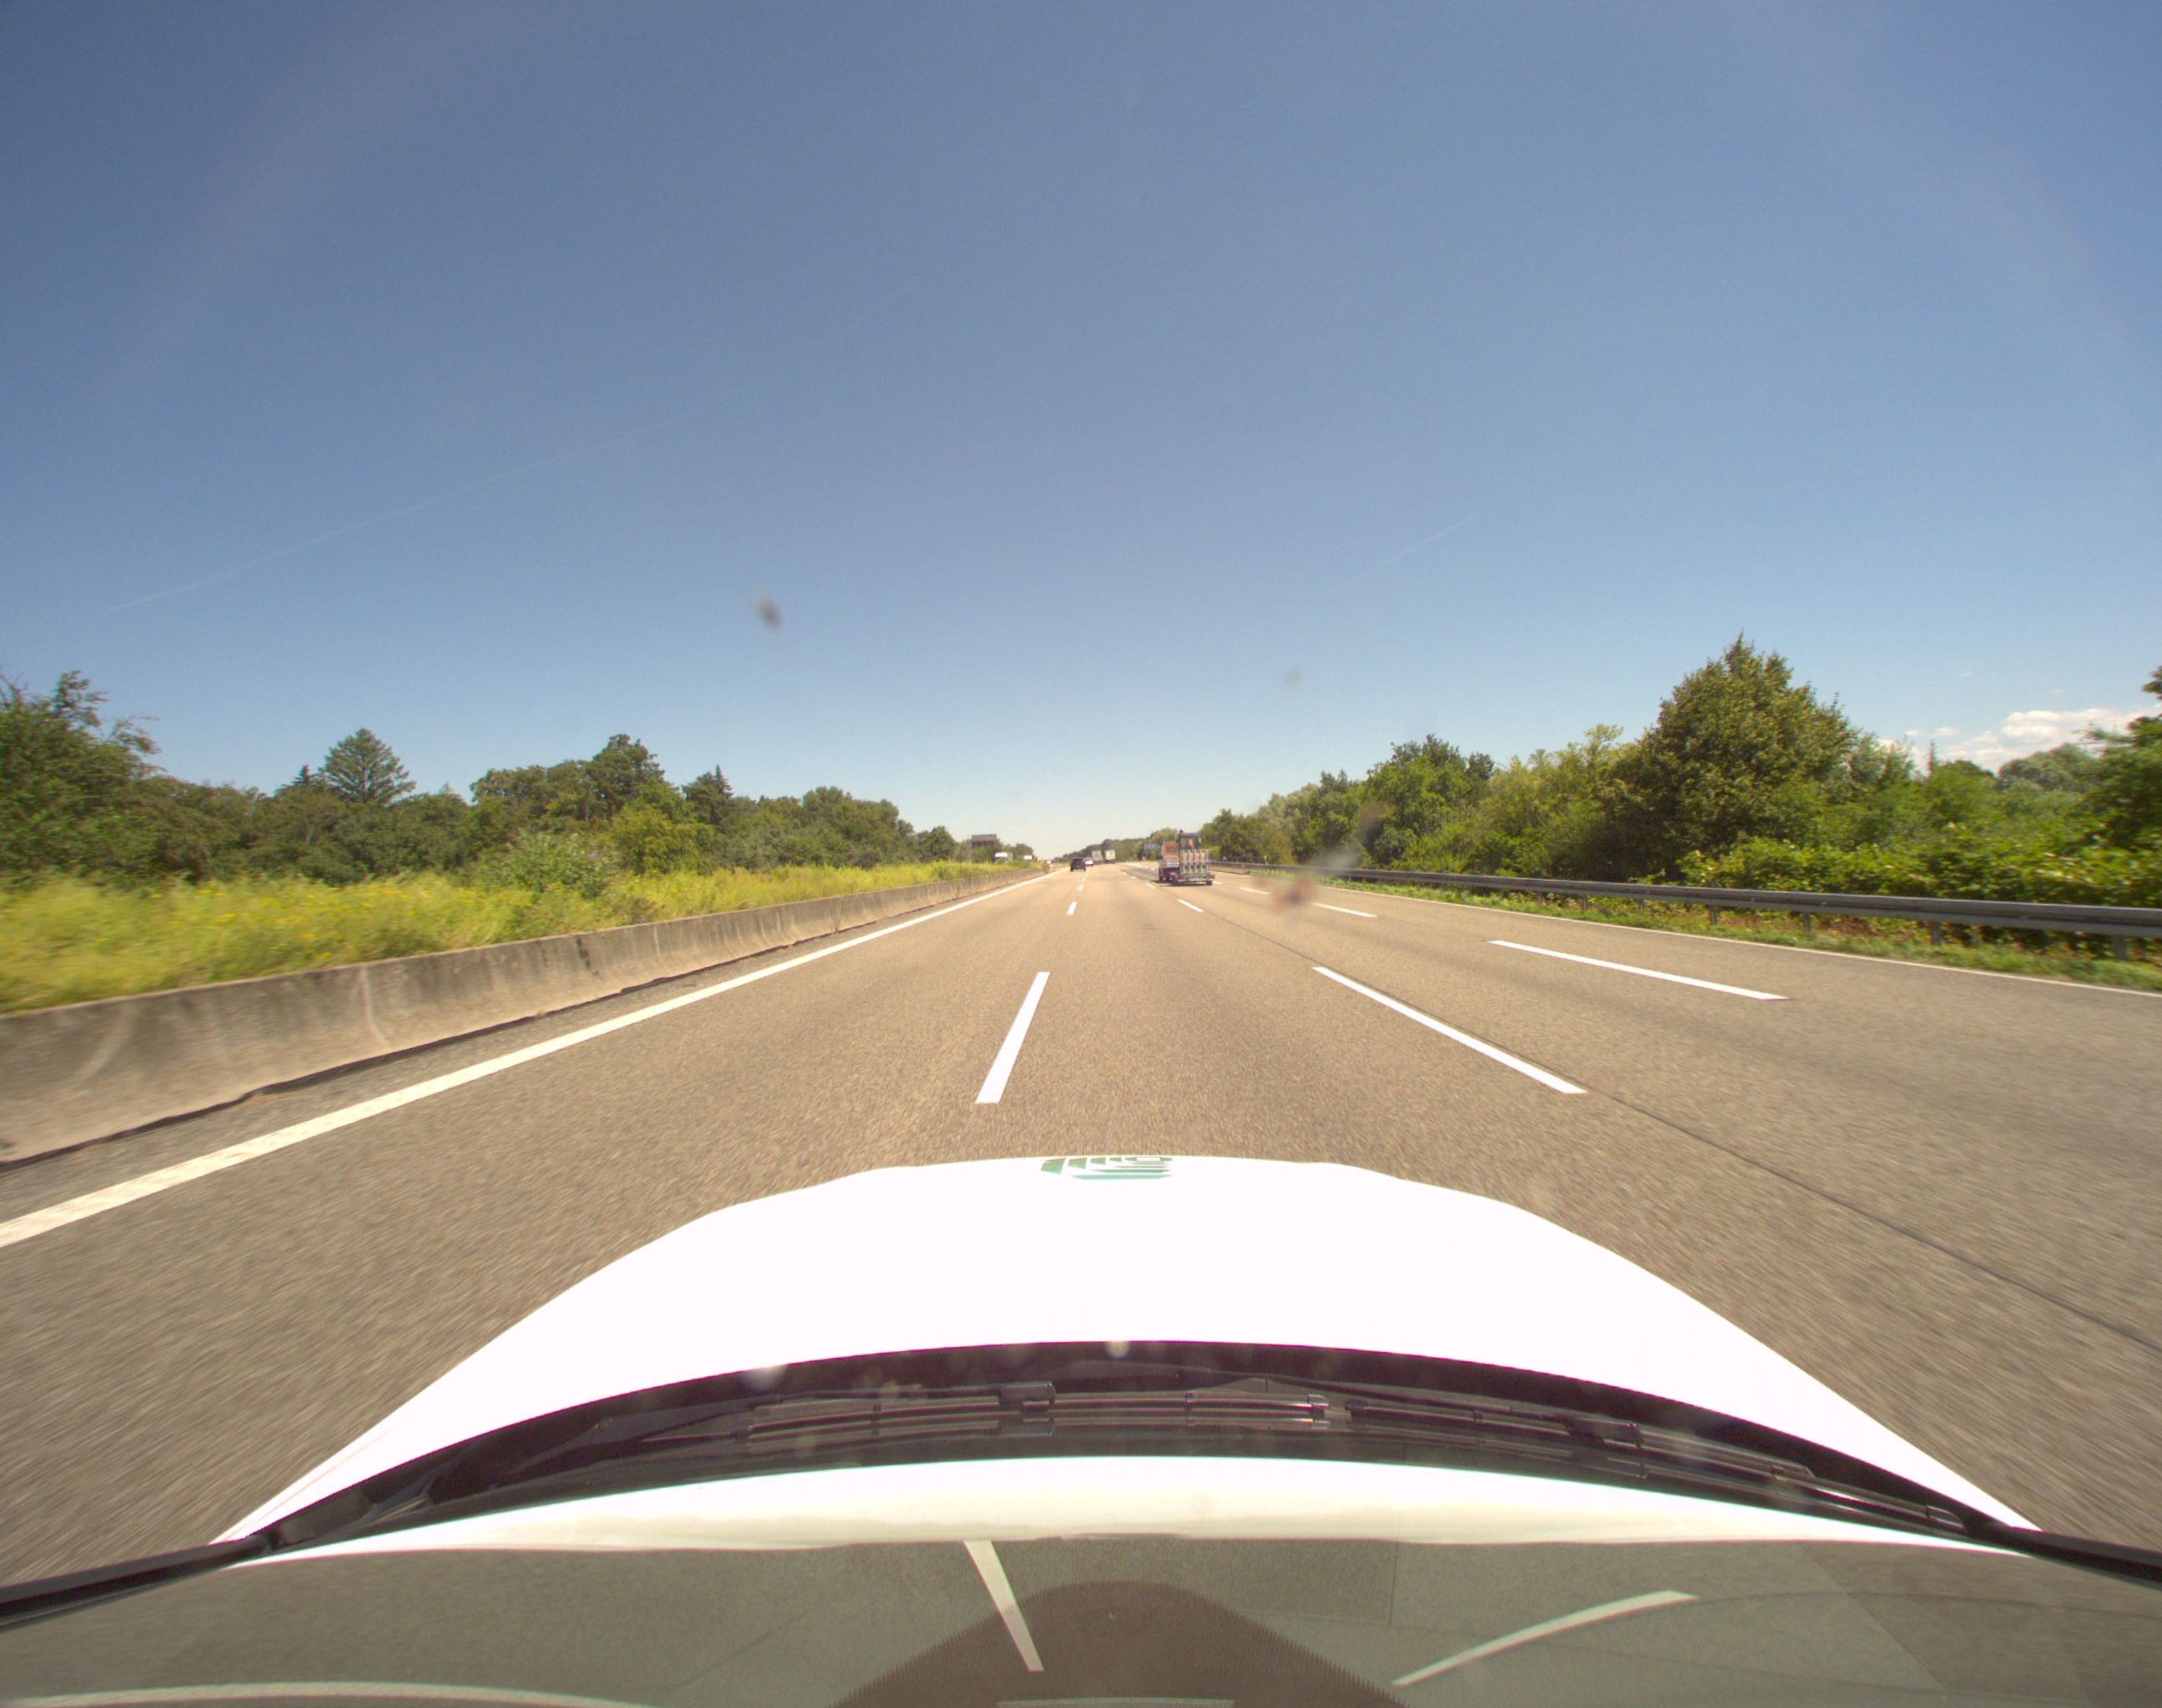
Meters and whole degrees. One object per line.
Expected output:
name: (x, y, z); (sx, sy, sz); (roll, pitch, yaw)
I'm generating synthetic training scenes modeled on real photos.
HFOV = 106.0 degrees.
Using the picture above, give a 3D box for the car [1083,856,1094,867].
car: (1.367, 1.439, 151.556); (1.987, 1.874, 4.000); (-3, -1, 1)

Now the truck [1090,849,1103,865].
truck: (4.312, 0.867, 226.049); (3.219, 4.202, 8.464); (-1, 0, 0)

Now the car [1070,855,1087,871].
car: (-0.314, 1.168, 104.979); (1.987, 1.874, 4.000); (-3, -1, 1)

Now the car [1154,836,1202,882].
car: (5.662, 0.309, 48.551); (1.986, 2.405, 7.227); (-3, -1, 1)

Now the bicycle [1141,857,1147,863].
bicycle: (13.657, 1.258, 176.424); (0.954, 1.157, 2.613); (-1, -1, 9)

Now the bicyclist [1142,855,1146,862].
bicyclist: (13.631, 1.015, 176.321); (0.954, 1.595, 0.809); (-1, -1, 9)

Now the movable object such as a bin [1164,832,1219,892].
movable object such as a bin: (5.686, 0.429, 42.454); (2.166, 2.815, 4.761); (-3, -1, 1)

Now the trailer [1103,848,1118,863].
trailer: (8.699, 0.499, 240.215); (3.361, 4.143, 9.076); (0, -1, -5)

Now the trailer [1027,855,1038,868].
trailer: (-15.217, 2.310, 253.831); (2.798, 4.047, 10.428); (0, -1, 0)
